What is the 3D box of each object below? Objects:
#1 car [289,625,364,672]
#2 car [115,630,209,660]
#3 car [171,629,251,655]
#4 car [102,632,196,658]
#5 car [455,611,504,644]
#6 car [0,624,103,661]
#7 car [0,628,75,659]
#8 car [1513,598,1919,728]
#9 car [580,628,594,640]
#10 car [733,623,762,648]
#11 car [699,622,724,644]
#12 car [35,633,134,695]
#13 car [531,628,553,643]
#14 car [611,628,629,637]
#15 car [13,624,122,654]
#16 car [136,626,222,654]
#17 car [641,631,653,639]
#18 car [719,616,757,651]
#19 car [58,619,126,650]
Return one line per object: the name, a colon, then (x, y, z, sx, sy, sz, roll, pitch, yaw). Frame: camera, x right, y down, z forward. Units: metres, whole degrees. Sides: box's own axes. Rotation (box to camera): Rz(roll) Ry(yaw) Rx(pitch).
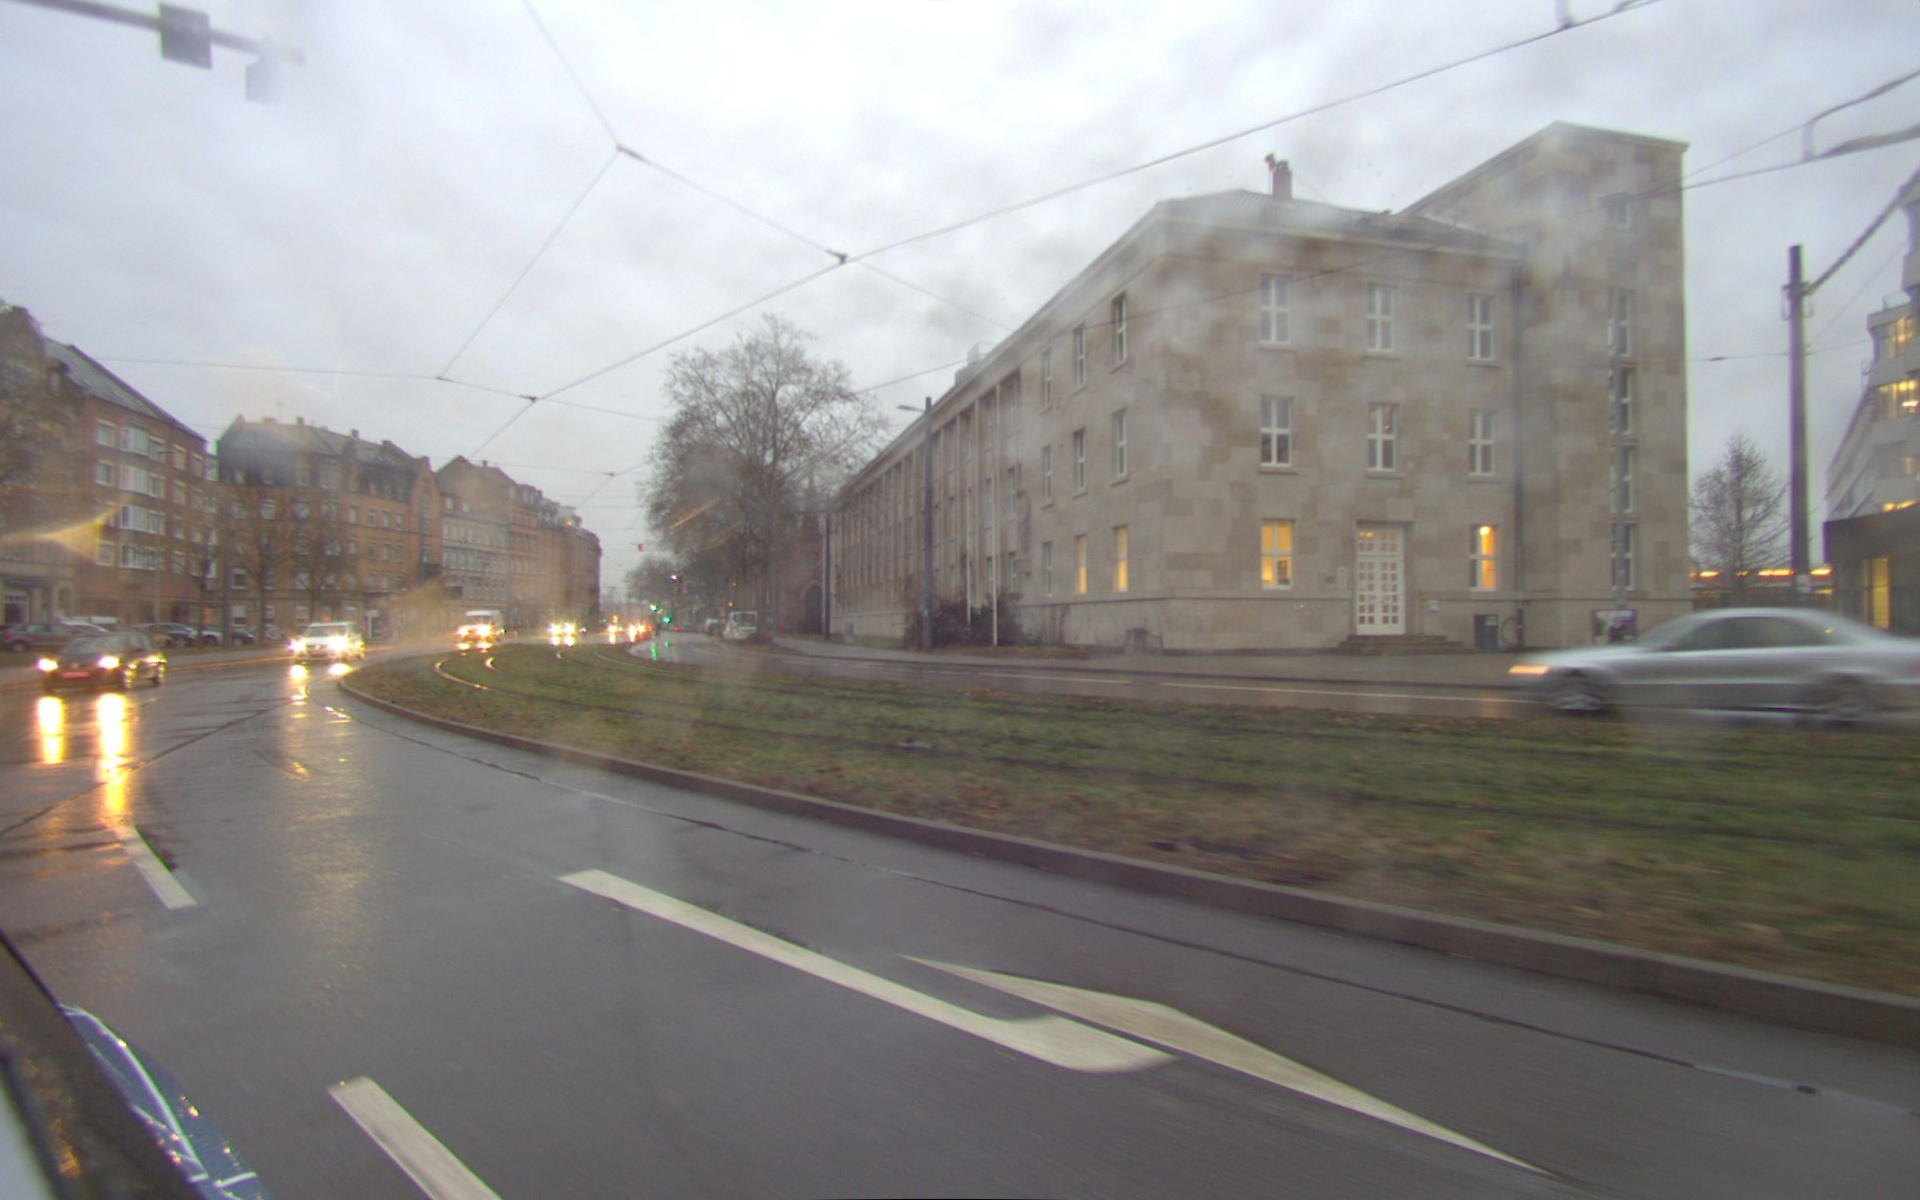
car: (-25.261, 1.884, 40.499, 1.647, 1.672, 4.161, -2, 0, -20)
car: (-40.468, 2.268, 51.384, 3.707, 1.341, 1.604, -2, -1, -39)
car: (-43.865, 2.446, 59.282, 3.707, 1.364, 1.604, -2, -1, -39)
car: (-42.461, 2.339, 53.036, 1.602, 1.288, 3.711, -2, -3, 44)
car: (-36.653, 2.056, 77.303, 2.095, 2.398, 5.652, -2, 0, -13)
car: (-40.454, 1.876, 44.736, 3.817, 1.416, 1.696, -2, 0, -44)
car: (-51.411, 2.411, 56.203, 1.666, 1.554, 4.010, -2, 0, -13)
car: (10.122, 0.773, 13.396, 4.649, 1.446, 1.803, -2, 0, 39)
car: (-52.080, 4.694, 141.241, 1.694, 1.630, 3.950, 0, -2, -18)
car: (-12.739, 2.098, 60.532, 1.535, 1.439, 2.963, 0, 0, -15)
car: (-19.630, 2.601, 79.883, 1.588, 1.673, 3.622, 0, -1, -20)
car: (-21.885, 1.542, 25.274, 3.134, 1.437, 1.568, -2, -2, 44)
car: (-49.406, 4.175, 119.639, 1.624, 1.763, 3.560, 0, -2, -8)
car: (-50.976, 4.874, 151.779, 1.867, 1.424, 3.954, 0, -2, -10)
car: (-41.694, 1.805, 47.386, 3.706, 1.343, 1.604, 1, -2, -39)
car: (-43.258, 2.198, 56.082, 3.707, 1.364, 1.604, -2, -1, -39)
car: (-68.919, 7.722, 222.829, 1.923, 1.829, 4.007, 0, -1, -8)
car: (-14.292, 2.099, 64.974, 1.966, 2.029, 4.523, -2, 0, -16)
car: (-52.926, 2.101, 61.766, 1.648, 1.716, 3.473, -2, 0, -11)
